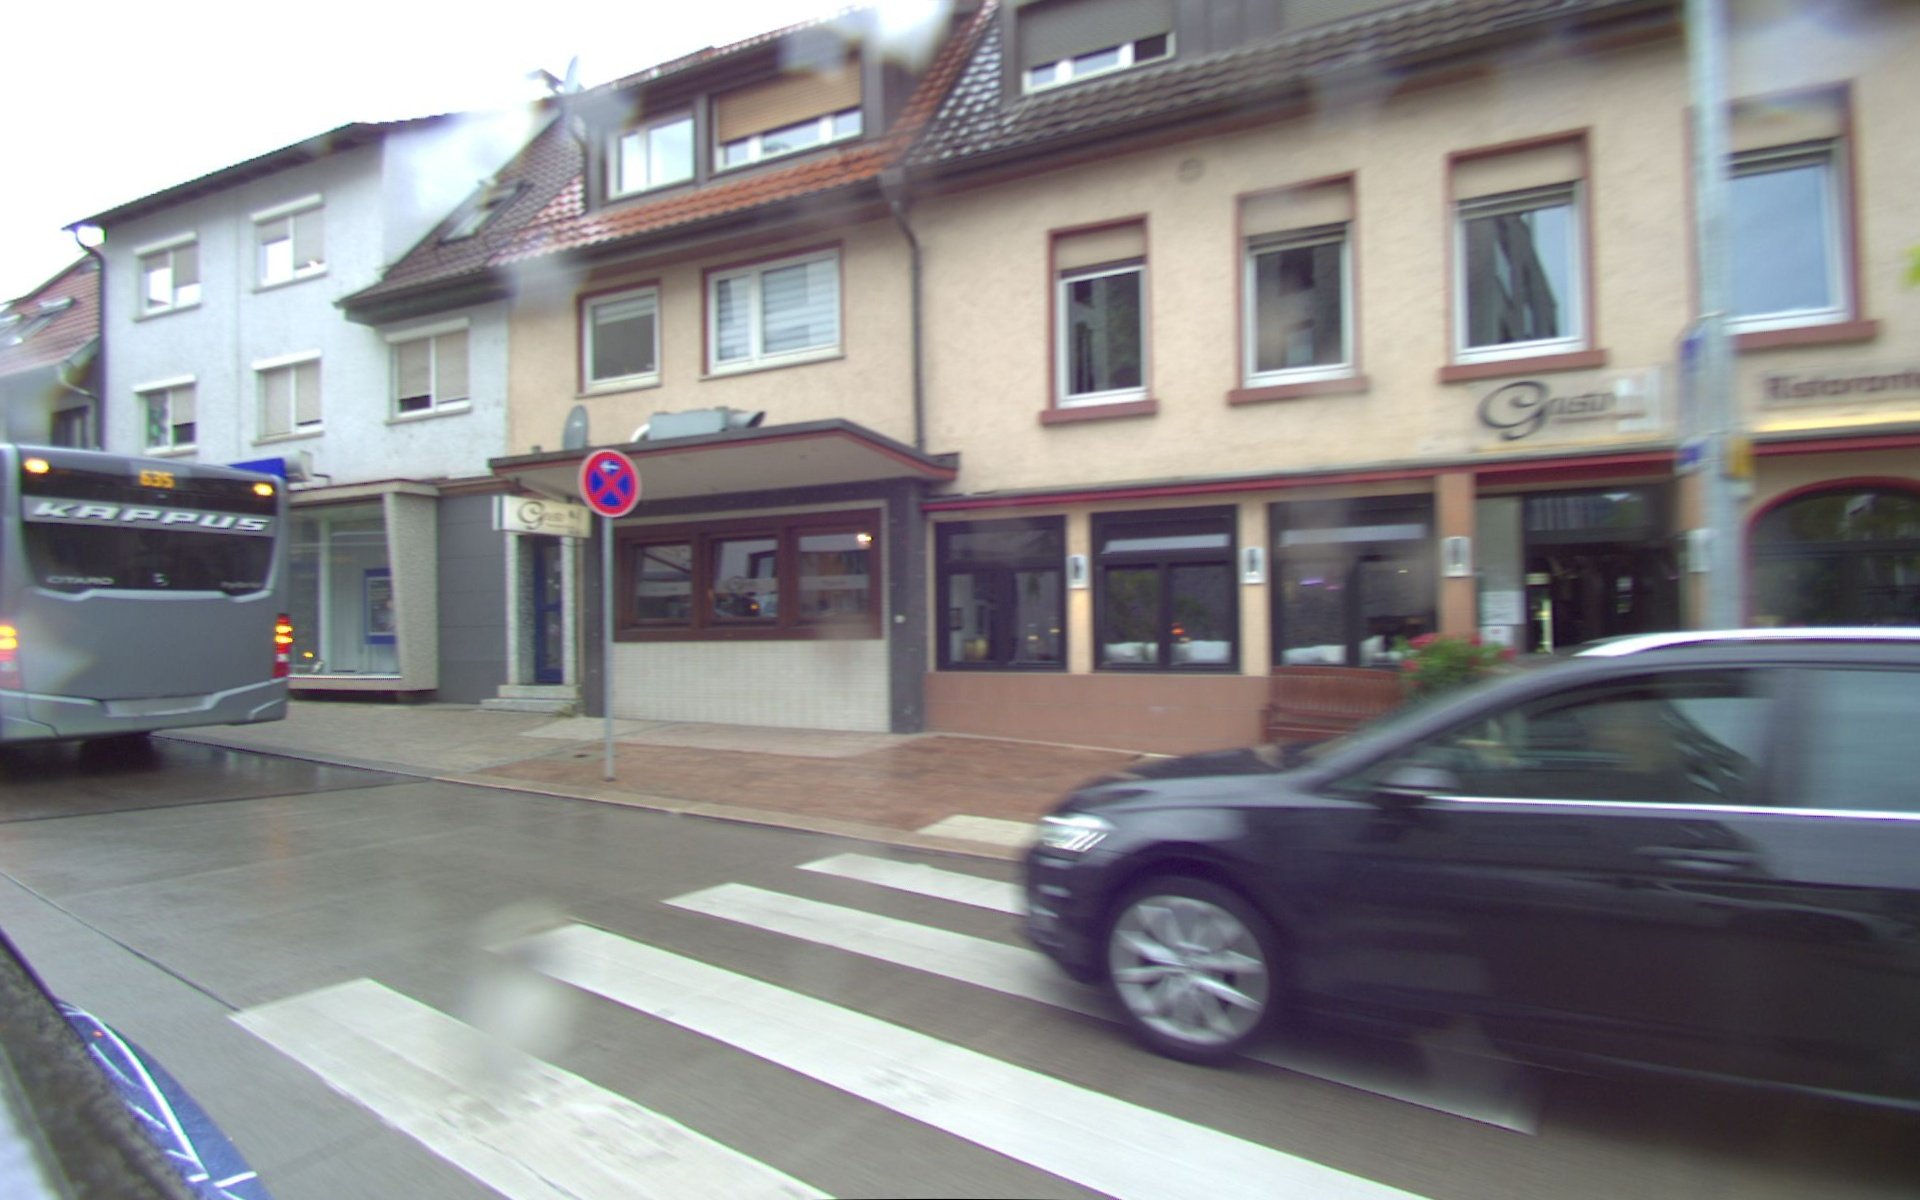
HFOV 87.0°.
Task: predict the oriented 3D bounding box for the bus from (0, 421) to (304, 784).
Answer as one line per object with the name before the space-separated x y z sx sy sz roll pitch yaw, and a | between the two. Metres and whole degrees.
bus | -12.363 0.071 12.341 10.902 3.103 2.705 -1 -1 30

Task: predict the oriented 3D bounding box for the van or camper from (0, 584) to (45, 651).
van or camper | -30.294 0.659 29.444 1.989 1.947 4.999 0 4 25

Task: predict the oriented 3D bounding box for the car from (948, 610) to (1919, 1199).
car | 2.298 0.762 3.313 4.448 1.441 1.655 -1 -1 28
